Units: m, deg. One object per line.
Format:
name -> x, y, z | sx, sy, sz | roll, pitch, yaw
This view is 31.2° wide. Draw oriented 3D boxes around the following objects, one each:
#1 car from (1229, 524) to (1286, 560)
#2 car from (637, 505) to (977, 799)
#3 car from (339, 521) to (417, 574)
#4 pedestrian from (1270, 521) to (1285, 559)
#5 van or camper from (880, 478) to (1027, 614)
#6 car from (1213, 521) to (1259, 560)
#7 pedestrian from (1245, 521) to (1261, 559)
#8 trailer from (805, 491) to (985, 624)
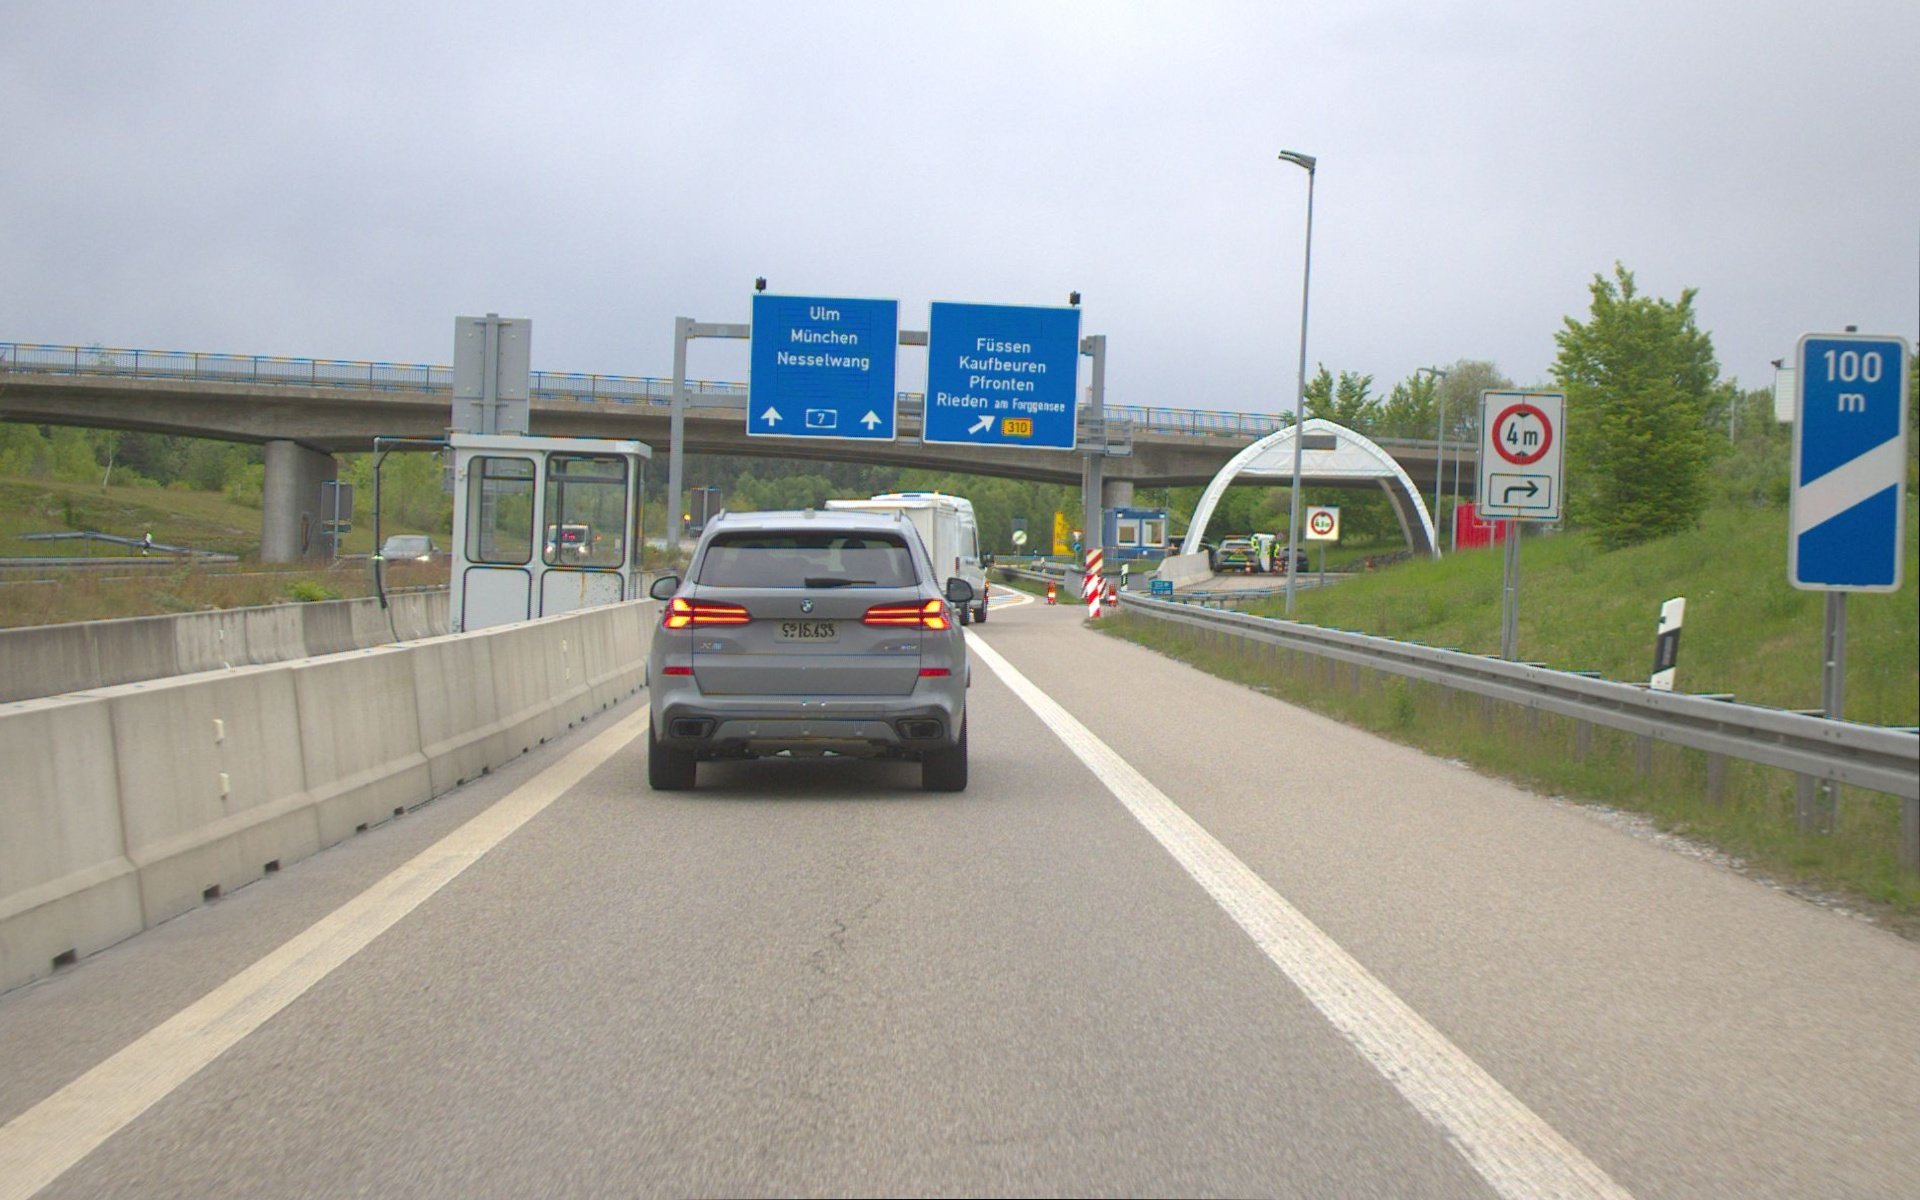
car -> 17.177, -3.364, 198.806 | 1.993, 2.007, 4.001 | 0, 1, -16
car -> -0.941, 0.273, 22.344 | 1.993, 1.713, 4.000 | 1, 1, -1
car -> -17.865, -1.612, 105.616 | 1.702, 1.569, 4.177 | 2, 1, -1
pedestrian -> 14.814, -2.819, 160.350 | 0.648, 1.769, 0.606 | 0, 1, 1
van or camper -> -0.088, -1.126, 73.166 | 2.157, 2.754, 5.869 | 1, 1, 9
car -> 12.619, -2.747, 157.298 | 1.994, 1.766, 3.765 | 0, 1, 3
pedestrian -> 13.584, -2.779, 159.586 | 0.720, 1.769, 0.690 | 0, 1, 3
trailer -> -1.183, -0.817, 66.869 | 2.280, 2.422, 6.815 | 1, 1, 9
